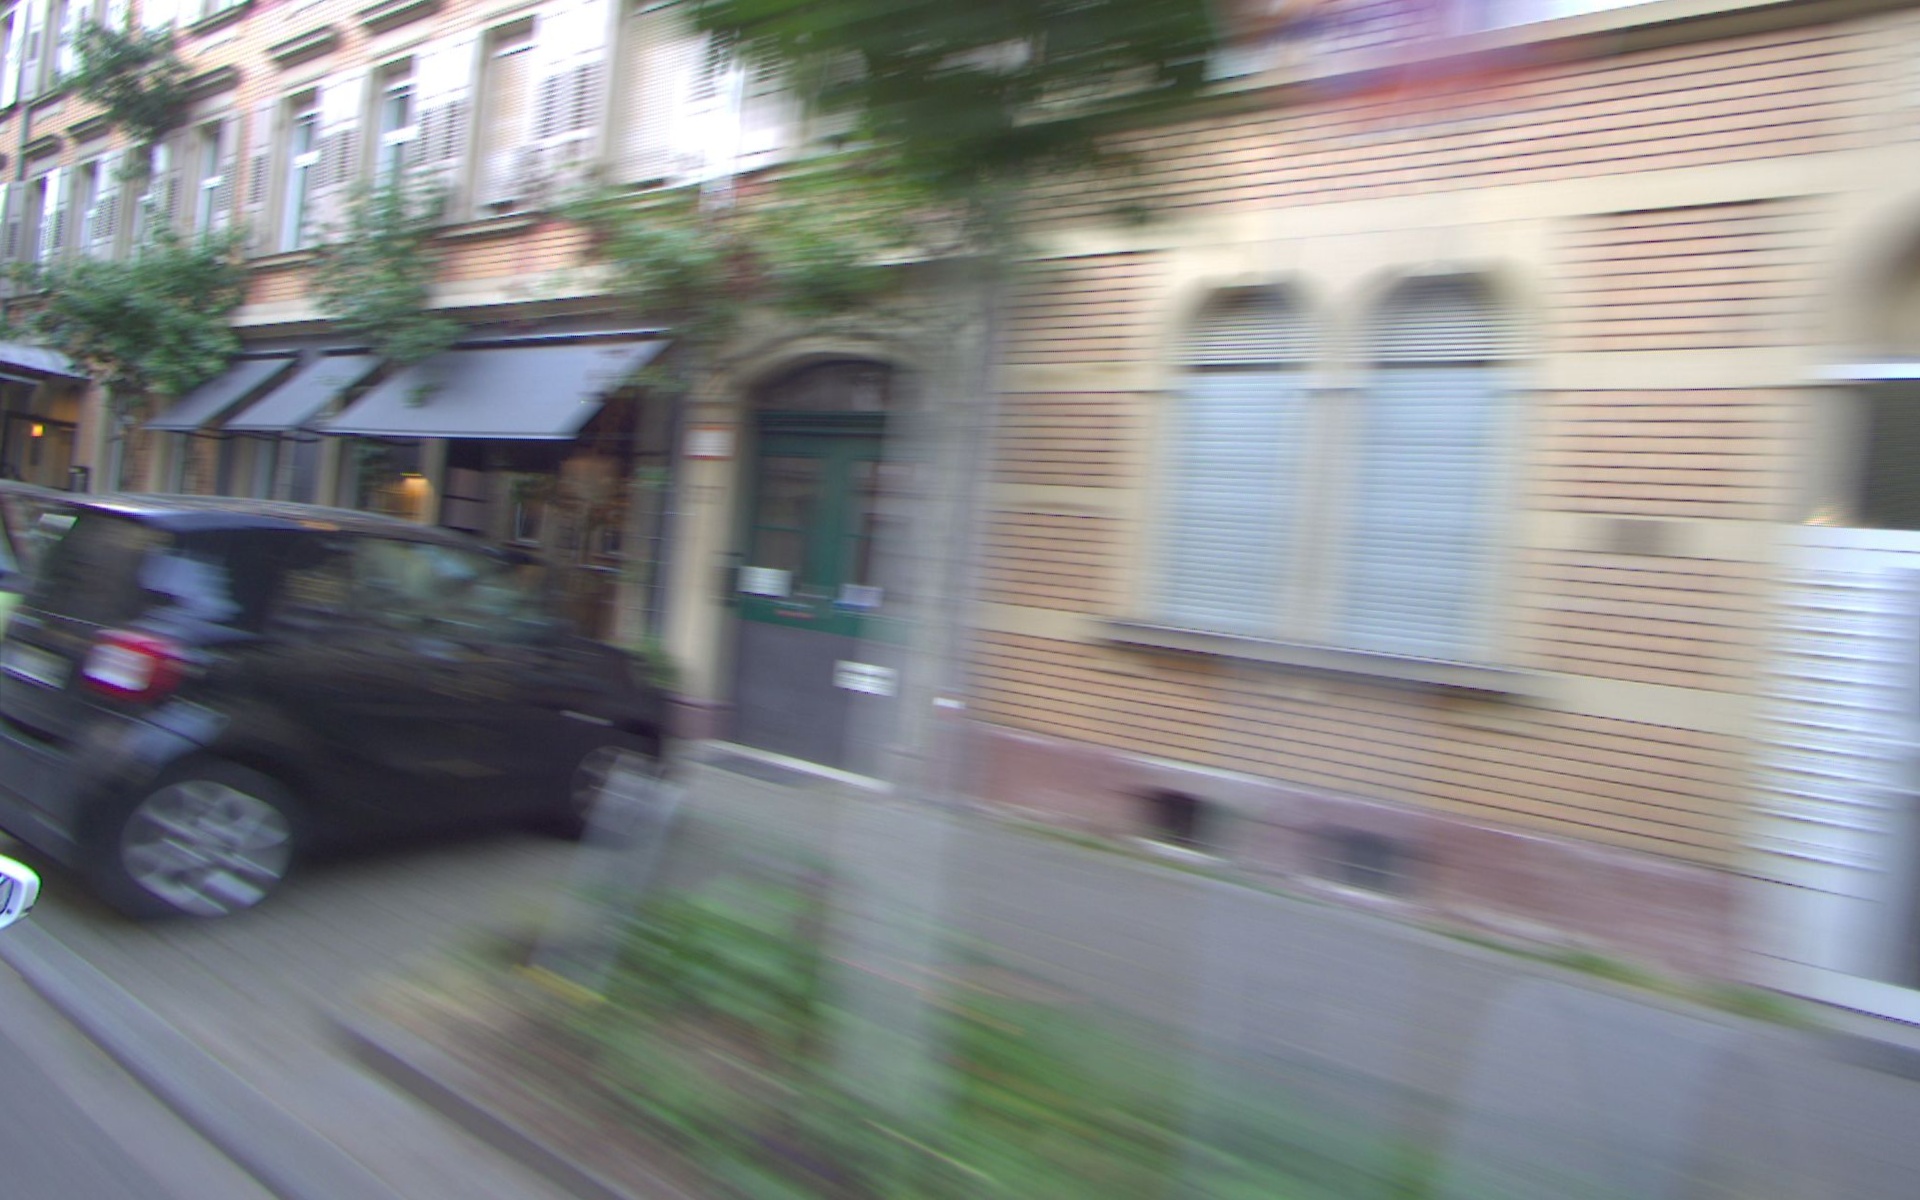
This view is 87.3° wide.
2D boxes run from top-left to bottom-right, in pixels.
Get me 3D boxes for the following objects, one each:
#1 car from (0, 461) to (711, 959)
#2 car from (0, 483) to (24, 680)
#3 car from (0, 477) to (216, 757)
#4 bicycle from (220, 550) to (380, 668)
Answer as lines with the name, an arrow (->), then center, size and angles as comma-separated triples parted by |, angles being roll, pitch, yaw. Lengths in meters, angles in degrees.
car -> -2.779, 0.355, 4.793 | 1.500, 1.593, 2.716 | 7, 2, 31
car -> -9.358, -0.353, 8.216 | 3.070, 1.579, 1.594 | 7, 0, 30
car -> -6.485, -0.026, 6.558 | 2.867, 1.571, 1.467 | 7, 1, 28
bicycle -> -7.125, 0.075, 10.832 | 1.918, 1.050, 0.686 | 7, 3, 33
